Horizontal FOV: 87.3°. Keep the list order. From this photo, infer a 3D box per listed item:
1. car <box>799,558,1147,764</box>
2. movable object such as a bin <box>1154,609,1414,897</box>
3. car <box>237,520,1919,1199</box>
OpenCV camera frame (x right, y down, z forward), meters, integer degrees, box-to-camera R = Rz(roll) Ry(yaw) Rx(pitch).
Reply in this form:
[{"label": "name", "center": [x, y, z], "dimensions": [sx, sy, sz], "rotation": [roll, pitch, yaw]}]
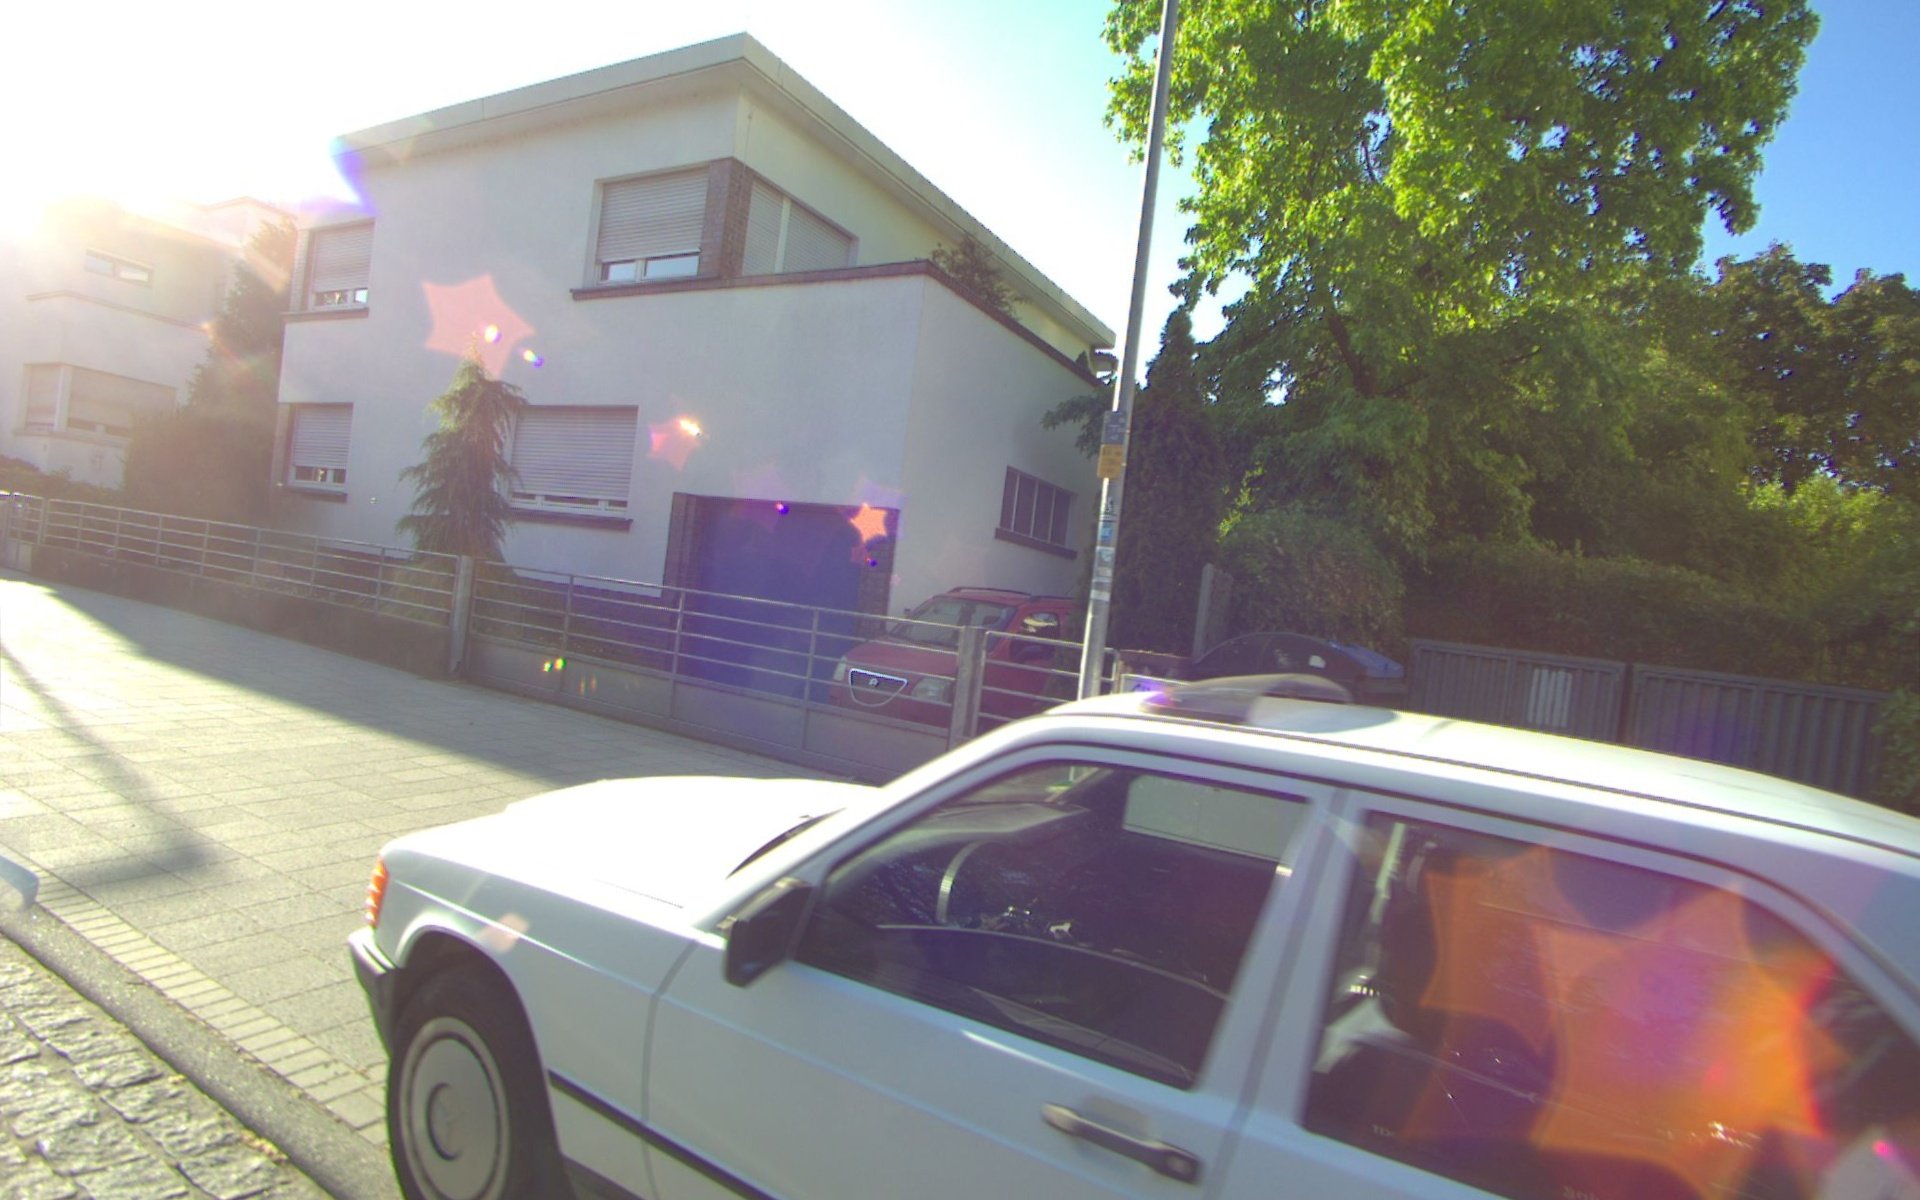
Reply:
[{"label": "car", "center": [0.280, 0.676, 10.375], "dimensions": [1.619, 1.661, 3.492], "rotation": [7, -1, 39]}, {"label": "movable object such as a bin", "center": [2.045, 0.889, 6.258], "dimensions": [1.105, 1.449, 1.239], "rotation": [7, -1, 33]}, {"label": "car", "center": [0.464, 0.772, 2.052], "dimensions": [4.302, 1.408, 1.565], "rotation": [7, 1, 32]}]
